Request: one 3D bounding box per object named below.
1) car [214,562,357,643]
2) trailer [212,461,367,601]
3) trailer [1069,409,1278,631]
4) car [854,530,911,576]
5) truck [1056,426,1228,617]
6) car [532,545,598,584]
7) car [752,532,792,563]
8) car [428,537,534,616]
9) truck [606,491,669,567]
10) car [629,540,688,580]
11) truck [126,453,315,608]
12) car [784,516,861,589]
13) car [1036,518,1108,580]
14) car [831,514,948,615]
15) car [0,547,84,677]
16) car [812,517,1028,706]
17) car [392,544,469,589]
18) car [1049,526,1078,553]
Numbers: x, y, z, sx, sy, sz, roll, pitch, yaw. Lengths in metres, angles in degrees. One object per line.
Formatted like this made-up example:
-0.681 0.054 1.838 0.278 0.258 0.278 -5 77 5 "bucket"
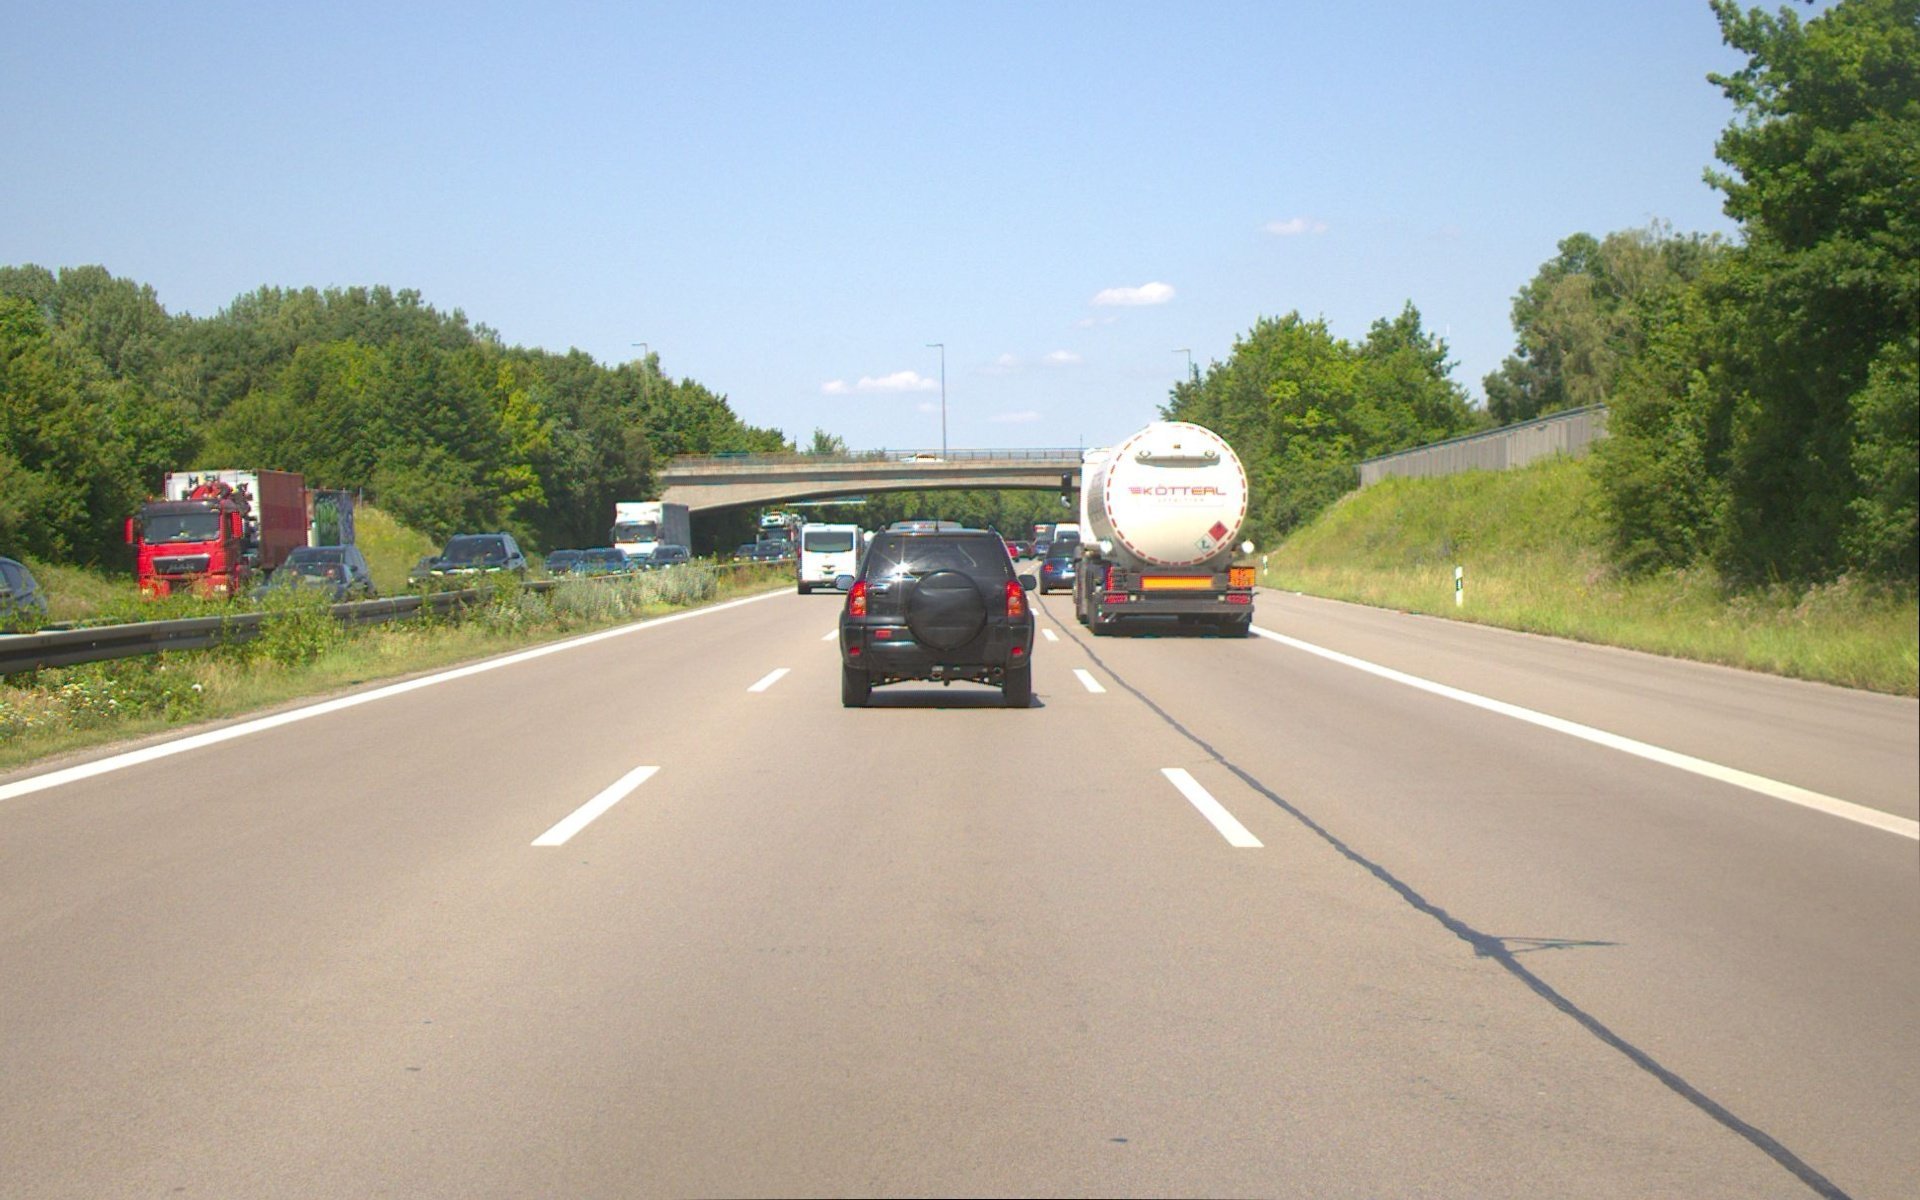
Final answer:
-11.880 0.017 60.785 1.668 1.312 4.121 -1 1 0 "car"
-19.252 -1.989 99.155 2.679 3.756 8.407 -2 1 0 "trailer"
3.451 -1.315 58.221 2.648 3.378 11.152 0 1 -1 "trailer"
-2.761 -1.664 122.937 1.993 1.547 4.000 -1 0 -1 "car"
3.302 -1.439 64.045 2.637 3.363 6.488 0 1 -2 "truck"
-15.039 -1.369 131.109 1.895 1.335 4.764 -3 1 0 "car"
-10.050 -2.815 183.944 1.858 1.595 4.721 -1 1 0 "car"
-11.735 -0.607 84.461 1.993 1.859 4.899 -1 1 -1 "car"
-17.826 -3.917 190.375 2.672 4.064 6.076 -3 1 0 "truck"
-12.074 -1.610 137.793 1.895 1.422 4.764 -3 1 0 "car"
-19.278 -1.817 90.259 2.679 3.756 9.919 -2 1 0 "truck"
-3.960 -1.384 99.739 1.993 2.007 4.950 -2 1 0 "car"
3.171 -1.435 97.760 1.993 1.678 4.000 -1 0 1 "car"
-1.243 -0.645 61.938 1.993 1.700 4.336 -2 1 -1 "car"
-11.957 0.139 40.709 1.954 1.478 4.345 -1 1 1 "car"
-0.328 0.072 32.588 1.906 1.659 4.000 -1 1 1 "car"
-18.737 -1.216 121.850 1.895 1.433 4.924 -3 1 0 "car"
6.980 -4.094 232.088 1.812 1.740 4.000 -1 1 0 "car"
